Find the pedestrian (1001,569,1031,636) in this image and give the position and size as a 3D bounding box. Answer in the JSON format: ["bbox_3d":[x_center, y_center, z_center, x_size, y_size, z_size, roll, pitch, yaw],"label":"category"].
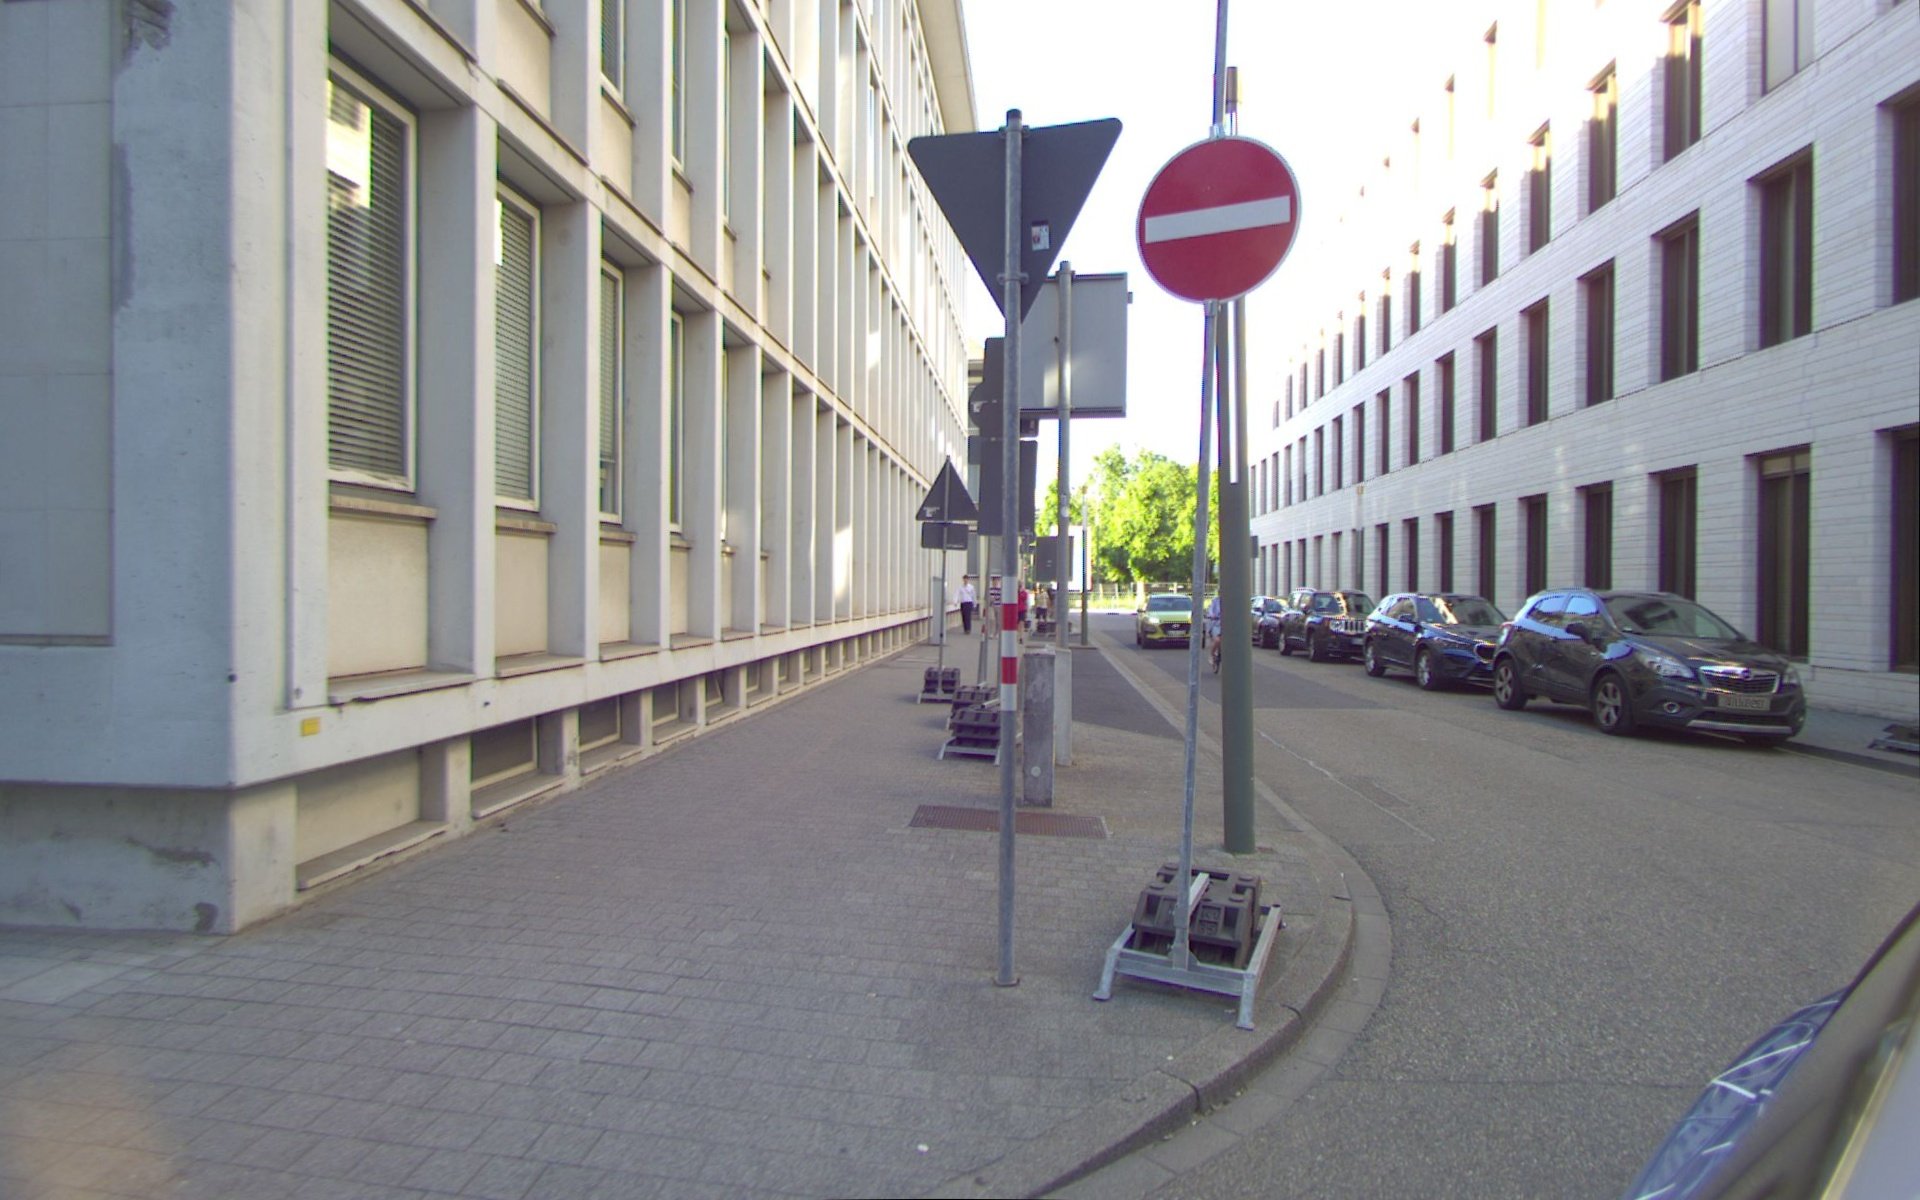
[{"bbox_3d":[1.572,0.058,28.310,0.674,1.800,0.592,4,1,7],"label":"pedestrian"}]

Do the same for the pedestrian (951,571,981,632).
[{"bbox_3d":[0.193,0.038,31.412,0.674,1.800,0.692,6,1,7],"label":"pedestrian"}]

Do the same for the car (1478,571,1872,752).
[{"bbox_3d":[8.162,0.574,12.151,1.795,1.698,4.260,3,1,3],"label":"car"}]

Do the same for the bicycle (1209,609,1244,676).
[{"bbox_3d":[5.067,0.765,19.176,0.587,1.097,2.299,0,2,16],"label":"bicycle"}]

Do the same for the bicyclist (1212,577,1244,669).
[{"bbox_3d":[5.093,0.416,19.211,0.578,1.710,0.535,0,1,17],"label":"bicyclist"}]

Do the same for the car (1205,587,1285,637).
[{"bbox_3d":[9.900,0.368,35.515,1.796,1.561,4.441,2,1,4],"label":"car"}]

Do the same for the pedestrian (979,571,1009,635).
[{"bbox_3d":[1.007,0.081,29.888,0.674,1.800,0.692,6,1,7],"label":"pedestrian"}]

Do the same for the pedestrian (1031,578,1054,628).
[{"bbox_3d":[2.999,0.097,36.865,0.674,1.736,0.692,4,1,7],"label":"pedestrian"}]

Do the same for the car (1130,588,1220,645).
[{"bbox_3d":[6.263,0.427,29.962,1.964,1.477,4.433,0,2,4],"label":"car"}]

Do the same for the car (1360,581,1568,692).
[{"bbox_3d":[8.523,0.529,17.552,1.714,1.614,4.149,3,1,5],"label":"car"}]

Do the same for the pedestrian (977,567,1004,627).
[{"bbox_3d":[0.946,-0.102,31.227,0.673,1.801,0.692,3,1,7],"label":"pedestrian"}]

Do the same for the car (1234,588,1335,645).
[{"bbox_3d":[9.581,0.425,30.199,1.795,1.561,4.261,1,1,3],"label":"car"}]

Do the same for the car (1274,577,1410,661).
[{"bbox_3d":[8.938,0.377,24.036,1.795,1.736,4.015,3,1,3],"label":"car"}]
